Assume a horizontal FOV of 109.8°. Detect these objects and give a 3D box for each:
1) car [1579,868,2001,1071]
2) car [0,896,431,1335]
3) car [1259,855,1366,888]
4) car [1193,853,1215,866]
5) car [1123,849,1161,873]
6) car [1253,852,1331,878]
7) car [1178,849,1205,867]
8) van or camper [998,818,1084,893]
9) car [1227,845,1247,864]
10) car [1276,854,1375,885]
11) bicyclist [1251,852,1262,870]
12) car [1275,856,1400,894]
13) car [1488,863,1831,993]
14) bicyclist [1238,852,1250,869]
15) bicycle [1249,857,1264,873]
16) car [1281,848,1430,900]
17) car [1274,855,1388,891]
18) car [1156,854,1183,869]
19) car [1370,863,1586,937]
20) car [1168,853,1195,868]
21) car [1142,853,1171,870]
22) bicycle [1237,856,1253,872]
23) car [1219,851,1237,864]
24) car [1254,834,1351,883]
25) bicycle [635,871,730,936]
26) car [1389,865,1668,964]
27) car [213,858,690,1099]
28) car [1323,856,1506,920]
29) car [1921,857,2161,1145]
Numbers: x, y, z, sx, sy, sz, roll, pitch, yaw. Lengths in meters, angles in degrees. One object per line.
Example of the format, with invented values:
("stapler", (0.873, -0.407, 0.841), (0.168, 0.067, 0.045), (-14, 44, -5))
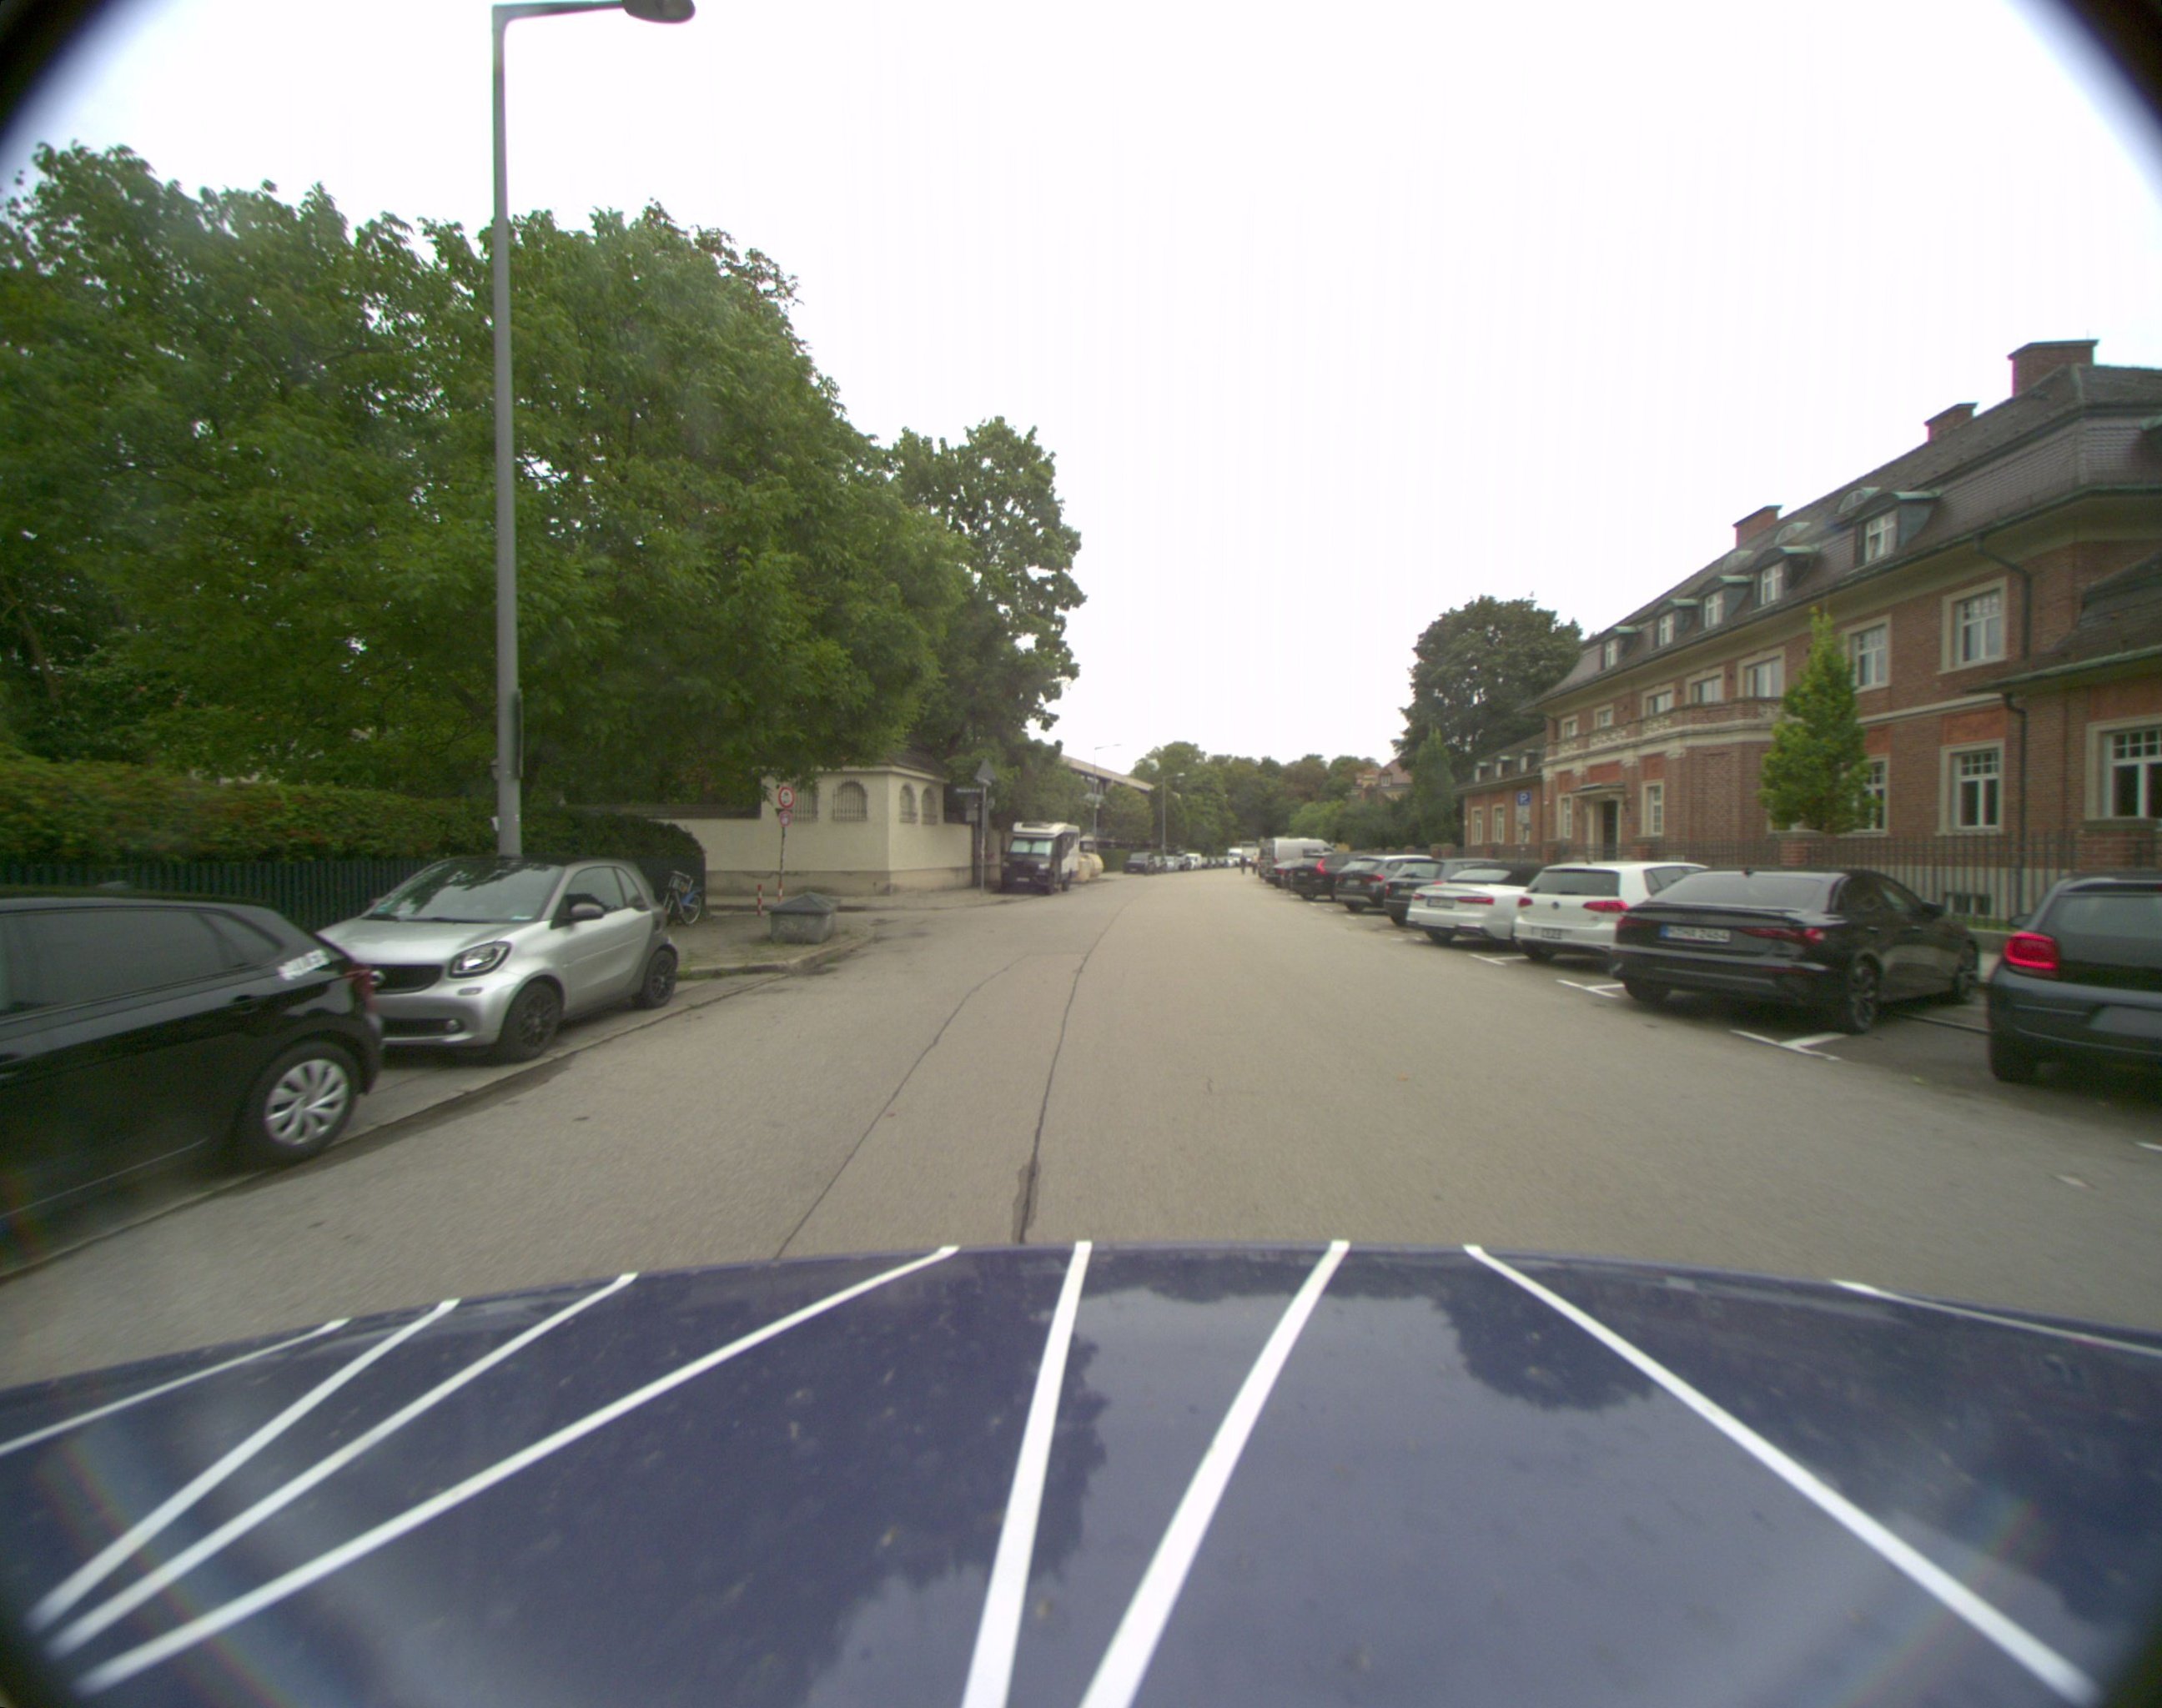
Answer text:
("car", (7.295, 0.917, 7.740), (4.420, 1.431, 1.961), (0, 1, -31))
("car", (-4.787, 0.993, 2.443), (1.882, 1.419, 4.220), (1, 0, -3))
("car", (10.934, 0.819, 35.946), (4.531, 1.442, 1.974), (1, 0, -17))
("car", (14.397, 0.630, 88.728), (1.749, 1.455, 4.249), (1, 0, 20))
("car", (5.161, 0.538, 63.592), (1.990, 1.860, 5.084), (-1, 1, 18))
("car", (13.843, 0.724, 49.927), (4.529, 1.584, 1.963), (1, 1, -13))
("car", (12.139, 0.463, 83.285), (1.824, 1.849, 4.906), (-1, 0, 22))
("van or camper", (-1.533, 0.043, 32.716), (2.276, 2.889, 7.281), (0, 0, 9))
("car", (22.827, 0.141, 110.918), (2.081, 2.671, 6.097), (2, 0, 19))
("car", (12.596, 0.775, 39.181), (4.530, 1.508, 1.934), (0, 1, -15))
("bicyclist", (14.145, 0.544, 61.271), (0.697, 1.389, 0.932), (0, 1, 25))
("car", (10.288, 0.845, 30.488), (4.532, 1.410, 1.924), (1, 0, -20))
("car", (8.298, 0.972, 10.883), (4.523, 1.501, 1.927), (2, 0, -24))
("bicyclist", (13.220, 0.525, 61.501), (0.697, 1.344, 0.932), (0, 1, 28))
("bicycle", (14.173, 0.869, 61.322), (0.708, 1.298, 2.122), (0, 0, 25))
("car", (9.342, 0.666, 25.928), (4.532, 1.655, 1.984), (1, 1, -20))
("car", (10.875, 0.827, 33.095), (4.532, 1.442, 1.817), (1, 1, -20))
("car", (8.645, 0.713, 74.149), (1.749, 1.472, 3.894), (0, 0, 20))
("car", (8.619, 0.927, 16.488), (4.400, 1.442, 1.654), (0, 0, -21))
("car", (10.421, 0.645, 78.420), (1.749, 1.471, 4.605), (-1, 0, 20))
("car", (6.867, 0.672, 68.696), (1.750, 1.530, 4.576), (0, 0, 18))
("bicycle", (13.286, 0.816, 61.577), (0.707, 1.298, 2.122), (0, 0, 28))
("car", (20.328, 0.497, 104.684), (1.872, 1.560, 5.009), (3, 0, 17))
("car", (12.173, 0.263, 41.900), (4.639, 2.548, 2.231), (1, 0, -13))
("bicycle", (-7.676, 0.920, 14.758), (0.808, 1.155, 1.973), (0, 0, 0))
("car", (7.782, 0.934, 13.203), (4.522, 1.442, 1.893), (0, 1, -24))
("car", (-4.979, 0.852, 6.580), (1.744, 1.527, 2.945), (1, 1, -3))
("car", (9.012, 0.852, 20.543), (4.532, 1.558, 1.886), (0, 1, -22))
("car", (8.117, 0.864, 5.514), (4.420, 1.620, 1.960), (0, 1, -32))
